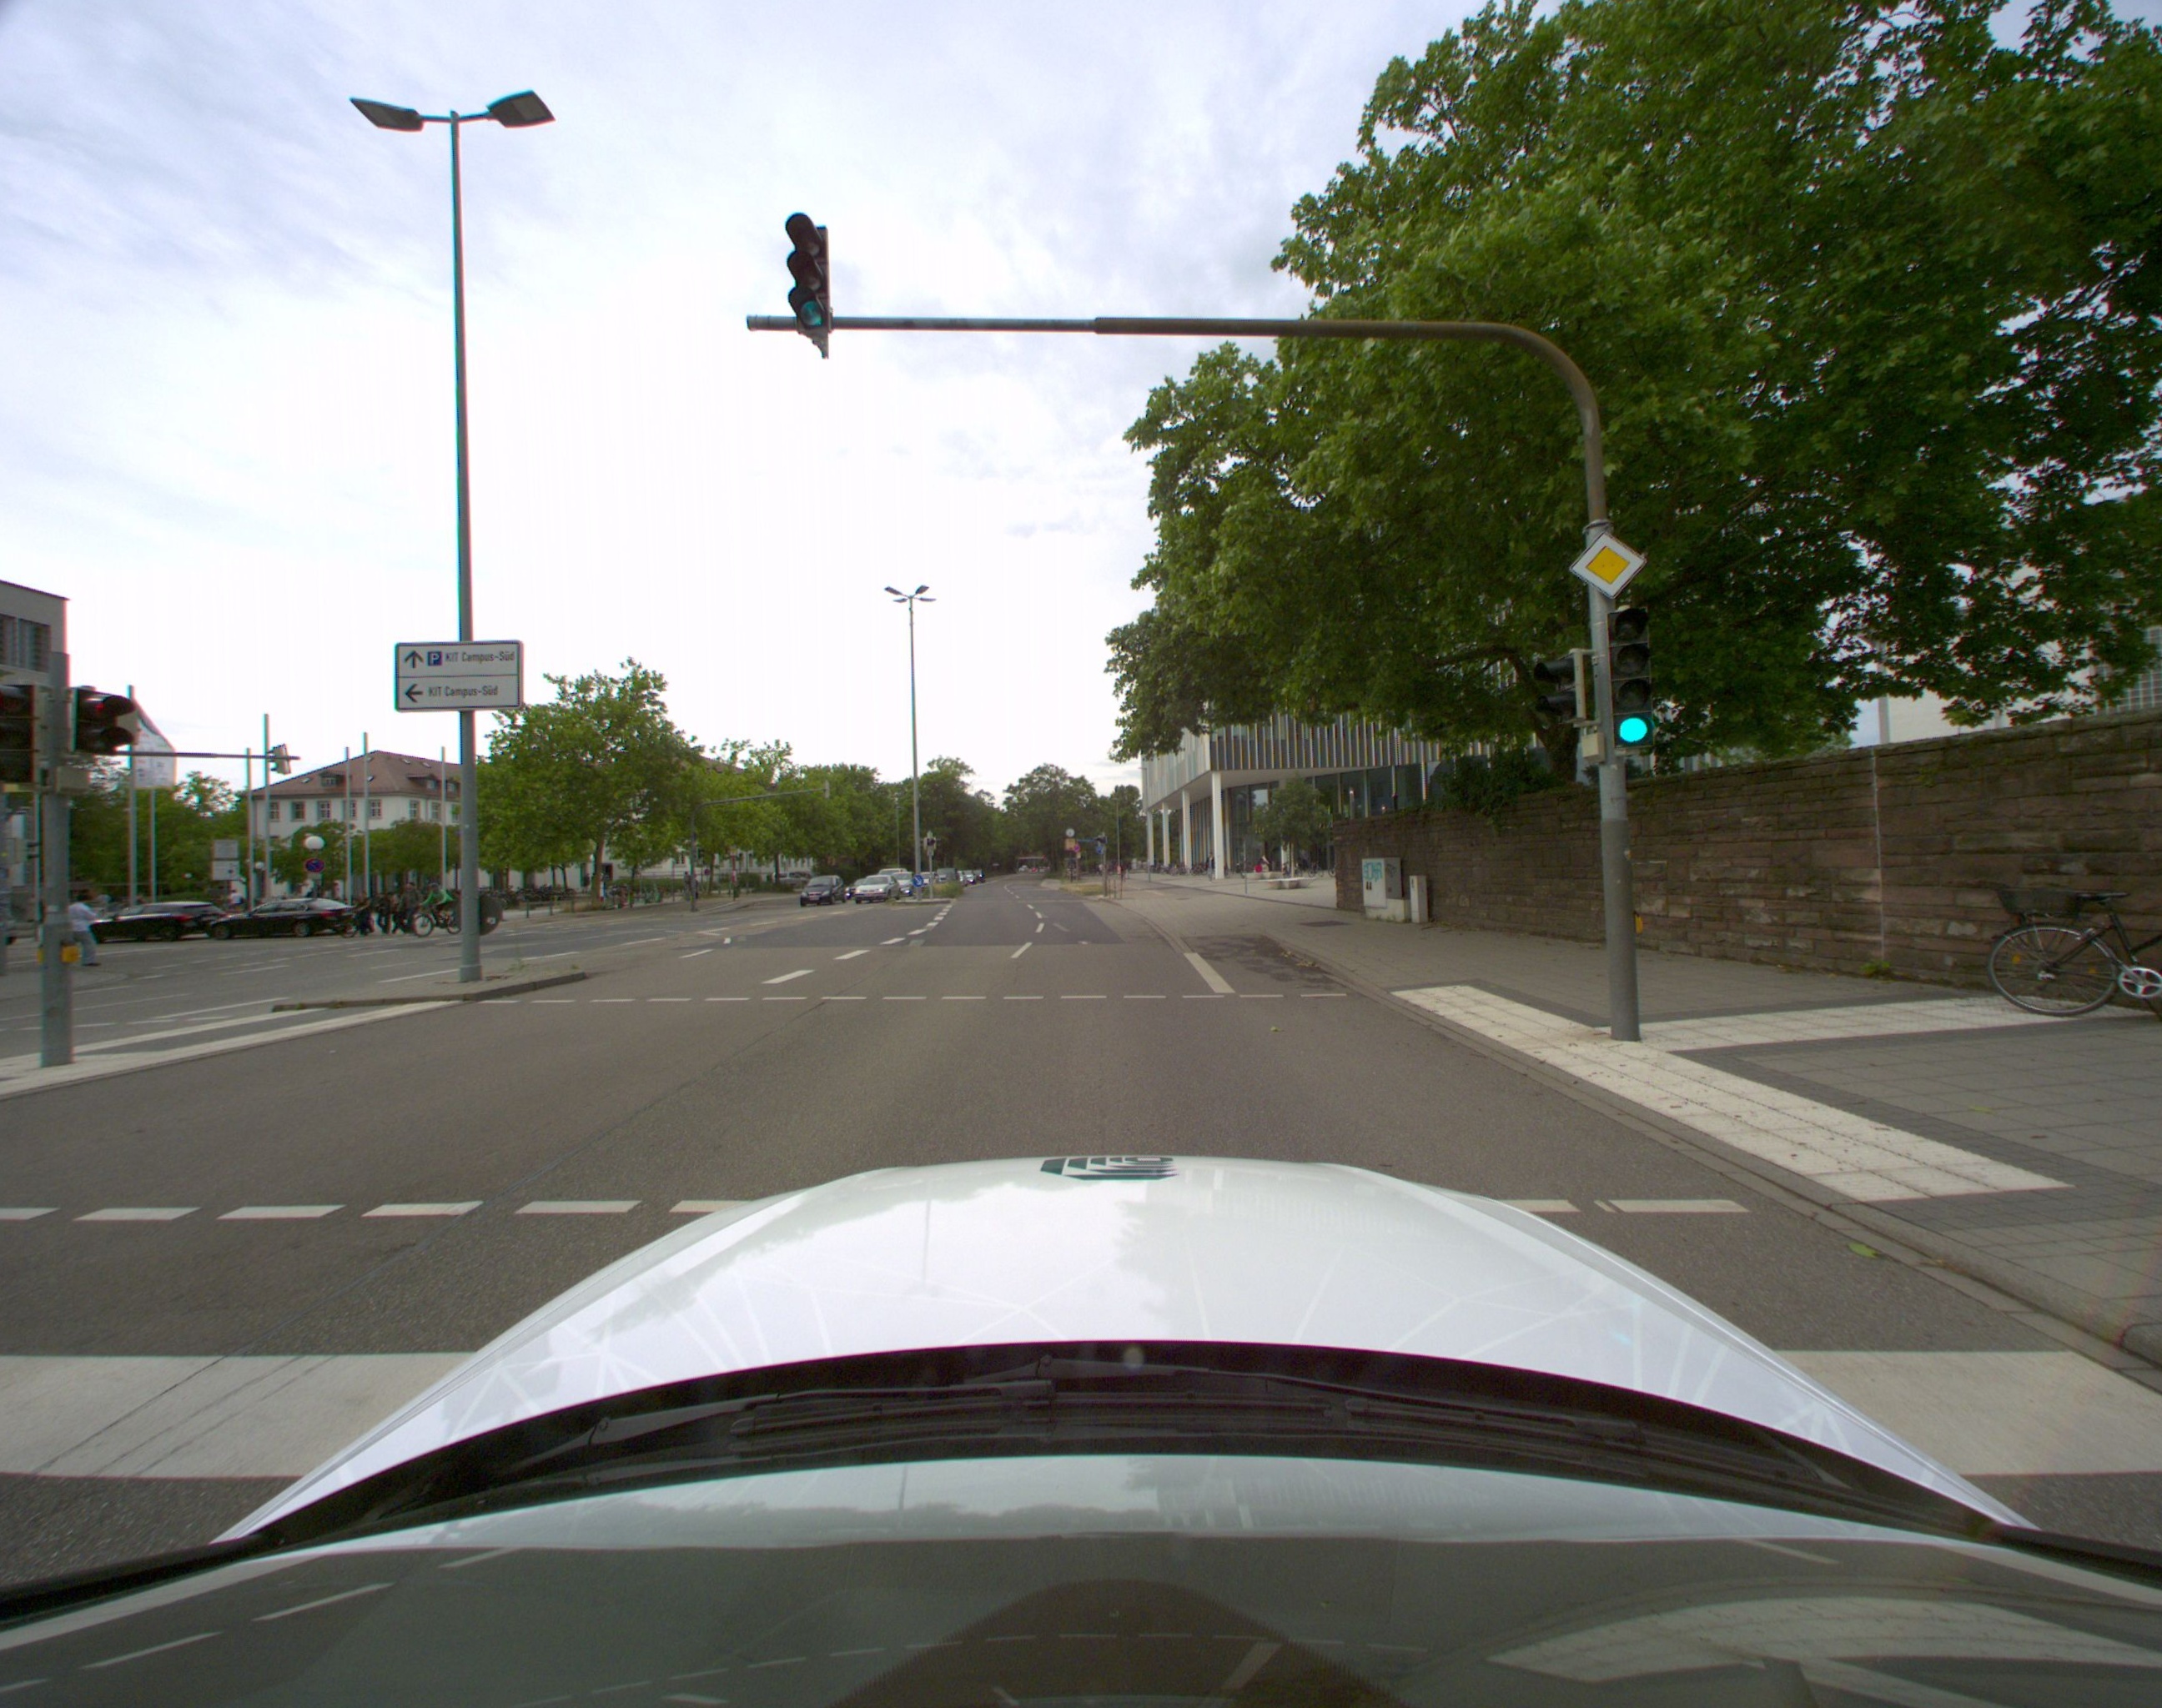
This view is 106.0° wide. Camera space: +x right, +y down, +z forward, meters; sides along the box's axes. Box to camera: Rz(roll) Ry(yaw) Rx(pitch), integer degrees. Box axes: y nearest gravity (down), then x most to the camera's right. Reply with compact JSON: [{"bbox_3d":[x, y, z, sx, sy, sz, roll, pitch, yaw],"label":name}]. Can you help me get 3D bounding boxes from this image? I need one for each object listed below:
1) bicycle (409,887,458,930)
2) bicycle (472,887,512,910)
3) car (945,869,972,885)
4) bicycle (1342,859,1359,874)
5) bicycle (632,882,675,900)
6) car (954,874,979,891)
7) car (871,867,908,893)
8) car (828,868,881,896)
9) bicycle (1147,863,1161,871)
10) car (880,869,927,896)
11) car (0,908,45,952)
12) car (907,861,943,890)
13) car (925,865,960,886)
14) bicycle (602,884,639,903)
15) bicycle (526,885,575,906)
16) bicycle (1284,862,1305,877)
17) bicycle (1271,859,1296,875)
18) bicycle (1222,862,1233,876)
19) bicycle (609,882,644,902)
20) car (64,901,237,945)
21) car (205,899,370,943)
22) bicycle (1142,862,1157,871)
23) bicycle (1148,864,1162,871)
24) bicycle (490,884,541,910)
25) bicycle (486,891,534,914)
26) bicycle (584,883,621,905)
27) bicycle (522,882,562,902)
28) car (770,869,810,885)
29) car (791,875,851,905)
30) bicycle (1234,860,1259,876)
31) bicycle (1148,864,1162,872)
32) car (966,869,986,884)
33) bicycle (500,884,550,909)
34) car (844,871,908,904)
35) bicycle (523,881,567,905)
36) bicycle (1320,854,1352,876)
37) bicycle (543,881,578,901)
[{"bbox_3d":[-21.593,1.790,27.219,0.607,1.333,2.295,0,-1,-21],"label":"bicycle"},{"bbox_3d":[-43.330,3.254,59.914,2.638,1.559,0.926,-3,-1,15],"label":"bicycle"},{"bbox_3d":[-11.459,2.132,76.392,1.899,1.465,4.906,0,-1,-2],"label":"car"},{"bbox_3d":[17.314,0.793,52.326,0.389,0.899,1.482,-3,-1,44],"label":"bicycle"},{"bbox_3d":[-31.636,2.763,60.312,2.743,1.174,0.720,-2,-1,-6],"label":"bicycle"},{"bbox_3d":[-11.977,2.962,85.456,1.988,1.547,4.176,-4,-1,-2],"label":"car"},{"bbox_3d":[-14.442,1.920,61.706,1.766,1.848,4.486,0,-1,-1],"label":"car"},{"bbox_3d":[-14.503,1.784,52.349,1.984,1.620,4.005,-2,-1,4],"label":"car"},{"bbox_3d":[9.207,1.618,102.980,1.604,0.875,0.555,-2,-1,-6],"label":"bicycle"},{"bbox_3d":[-11.277,1.775,51.982,1.950,1.584,4.256,0,0,1],"label":"car"},{"bbox_3d":[-42.149,2.870,30.477,3.978,1.580,1.997,0,-1,-4],"label":"car"},{"bbox_3d":[-11.752,1.620,61.602,1.988,2.014,3.996,-2,-1,-2],"label":"car"},{"bbox_3d":[-11.745,1.804,69.194,1.986,1.687,4.948,-1,-1,1],"label":"car"},{"bbox_3d":[-31.161,2.661,55.142,2.036,1.153,0.717,-2,-1,-20],"label":"bicycle"},{"bbox_3d":[-37.394,2.908,57.417,2.814,1.329,0.720,-2,-1,-7],"label":"bicycle"},{"bbox_3d":[14.666,1.062,55.971,0.663,0.899,1.857,-3,-1,39],"label":"bicycle"},{"bbox_3d":[14.098,0.909,56.629,1.971,1.002,0.765,-2,-1,-44],"label":"bicycle"},{"bbox_3d":[11.154,1.143,61.987,0.636,1.061,1.841,0,-1,3],"label":"bicycle"},{"bbox_3d":[-38.519,3.214,69.012,2.396,1.594,0.720,-2,-1,-6],"label":"bicycle"},{"bbox_3d":[-35.159,2.598,30.895,3.981,1.472,1.996,0,-1,-6],"label":"car"},{"bbox_3d":[-30.380,2.539,31.297,4.136,1.472,1.996,0,-1,-6],"label":"car"},{"bbox_3d":[8.788,1.573,104.105,1.791,1.082,0.625,-4,-1,-4],"label":"bicycle"},{"bbox_3d":[9.231,1.680,101.163,1.602,0.875,0.556,-3,-1,-2],"label":"bicycle"},{"bbox_3d":[-37.369,2.835,53.803,2.656,1.559,0.779,-2,-1,-8],"label":"bicycle"},{"bbox_3d":[-37.037,3.162,52.853,2.481,1.354,0.720,-2,-1,-6],"label":"bicycle"},{"bbox_3d":[-37.970,3.154,64.654,2.396,1.594,0.720,-2,-1,-6],"label":"bicycle"},{"bbox_3d":[-44.577,3.159,67.321,3.056,1.559,0.926,-2,-1,15],"label":"bicycle"},{"bbox_3d":[-30.239,2.378,84.606,3.579,1.602,1.649,0,-1,-5],"label":"car"},{"bbox_3d":[-13.931,1.906,43.871,1.845,1.463,3.699,-2,-1,2],"label":"car"},{"bbox_3d":[12.178,1.029,59.886,0.727,1.115,2.196,-3,-1,45],"label":"bicycle"},{"bbox_3d":[9.109,1.683,100.572,1.602,0.875,0.556,-3,-1,-2],"label":"bicycle"},{"bbox_3d":[-12.344,2.633,96.164,1.898,1.593,4.512,-2,-1,-2],"label":"car"},{"bbox_3d":[-37.990,2.880,55.663,2.661,1.559,0.918,-2,-1,-13],"label":"bicycle"},{"bbox_3d":[-10.735,1.709,42.970,1.984,1.529,4.279,-2,-1,4],"label":"car"},{"bbox_3d":[-38.369,2.784,58.350,2.447,1.559,0.918,-2,-1,-13],"label":"bicycle"},{"bbox_3d":[16.665,0.718,53.139,2.011,1.306,0.640,-4,1,-24],"label":"bicycle"},{"bbox_3d":[-44.224,3.126,69.159,2.638,1.559,0.926,-2,-1,15],"label":"bicycle"}]
